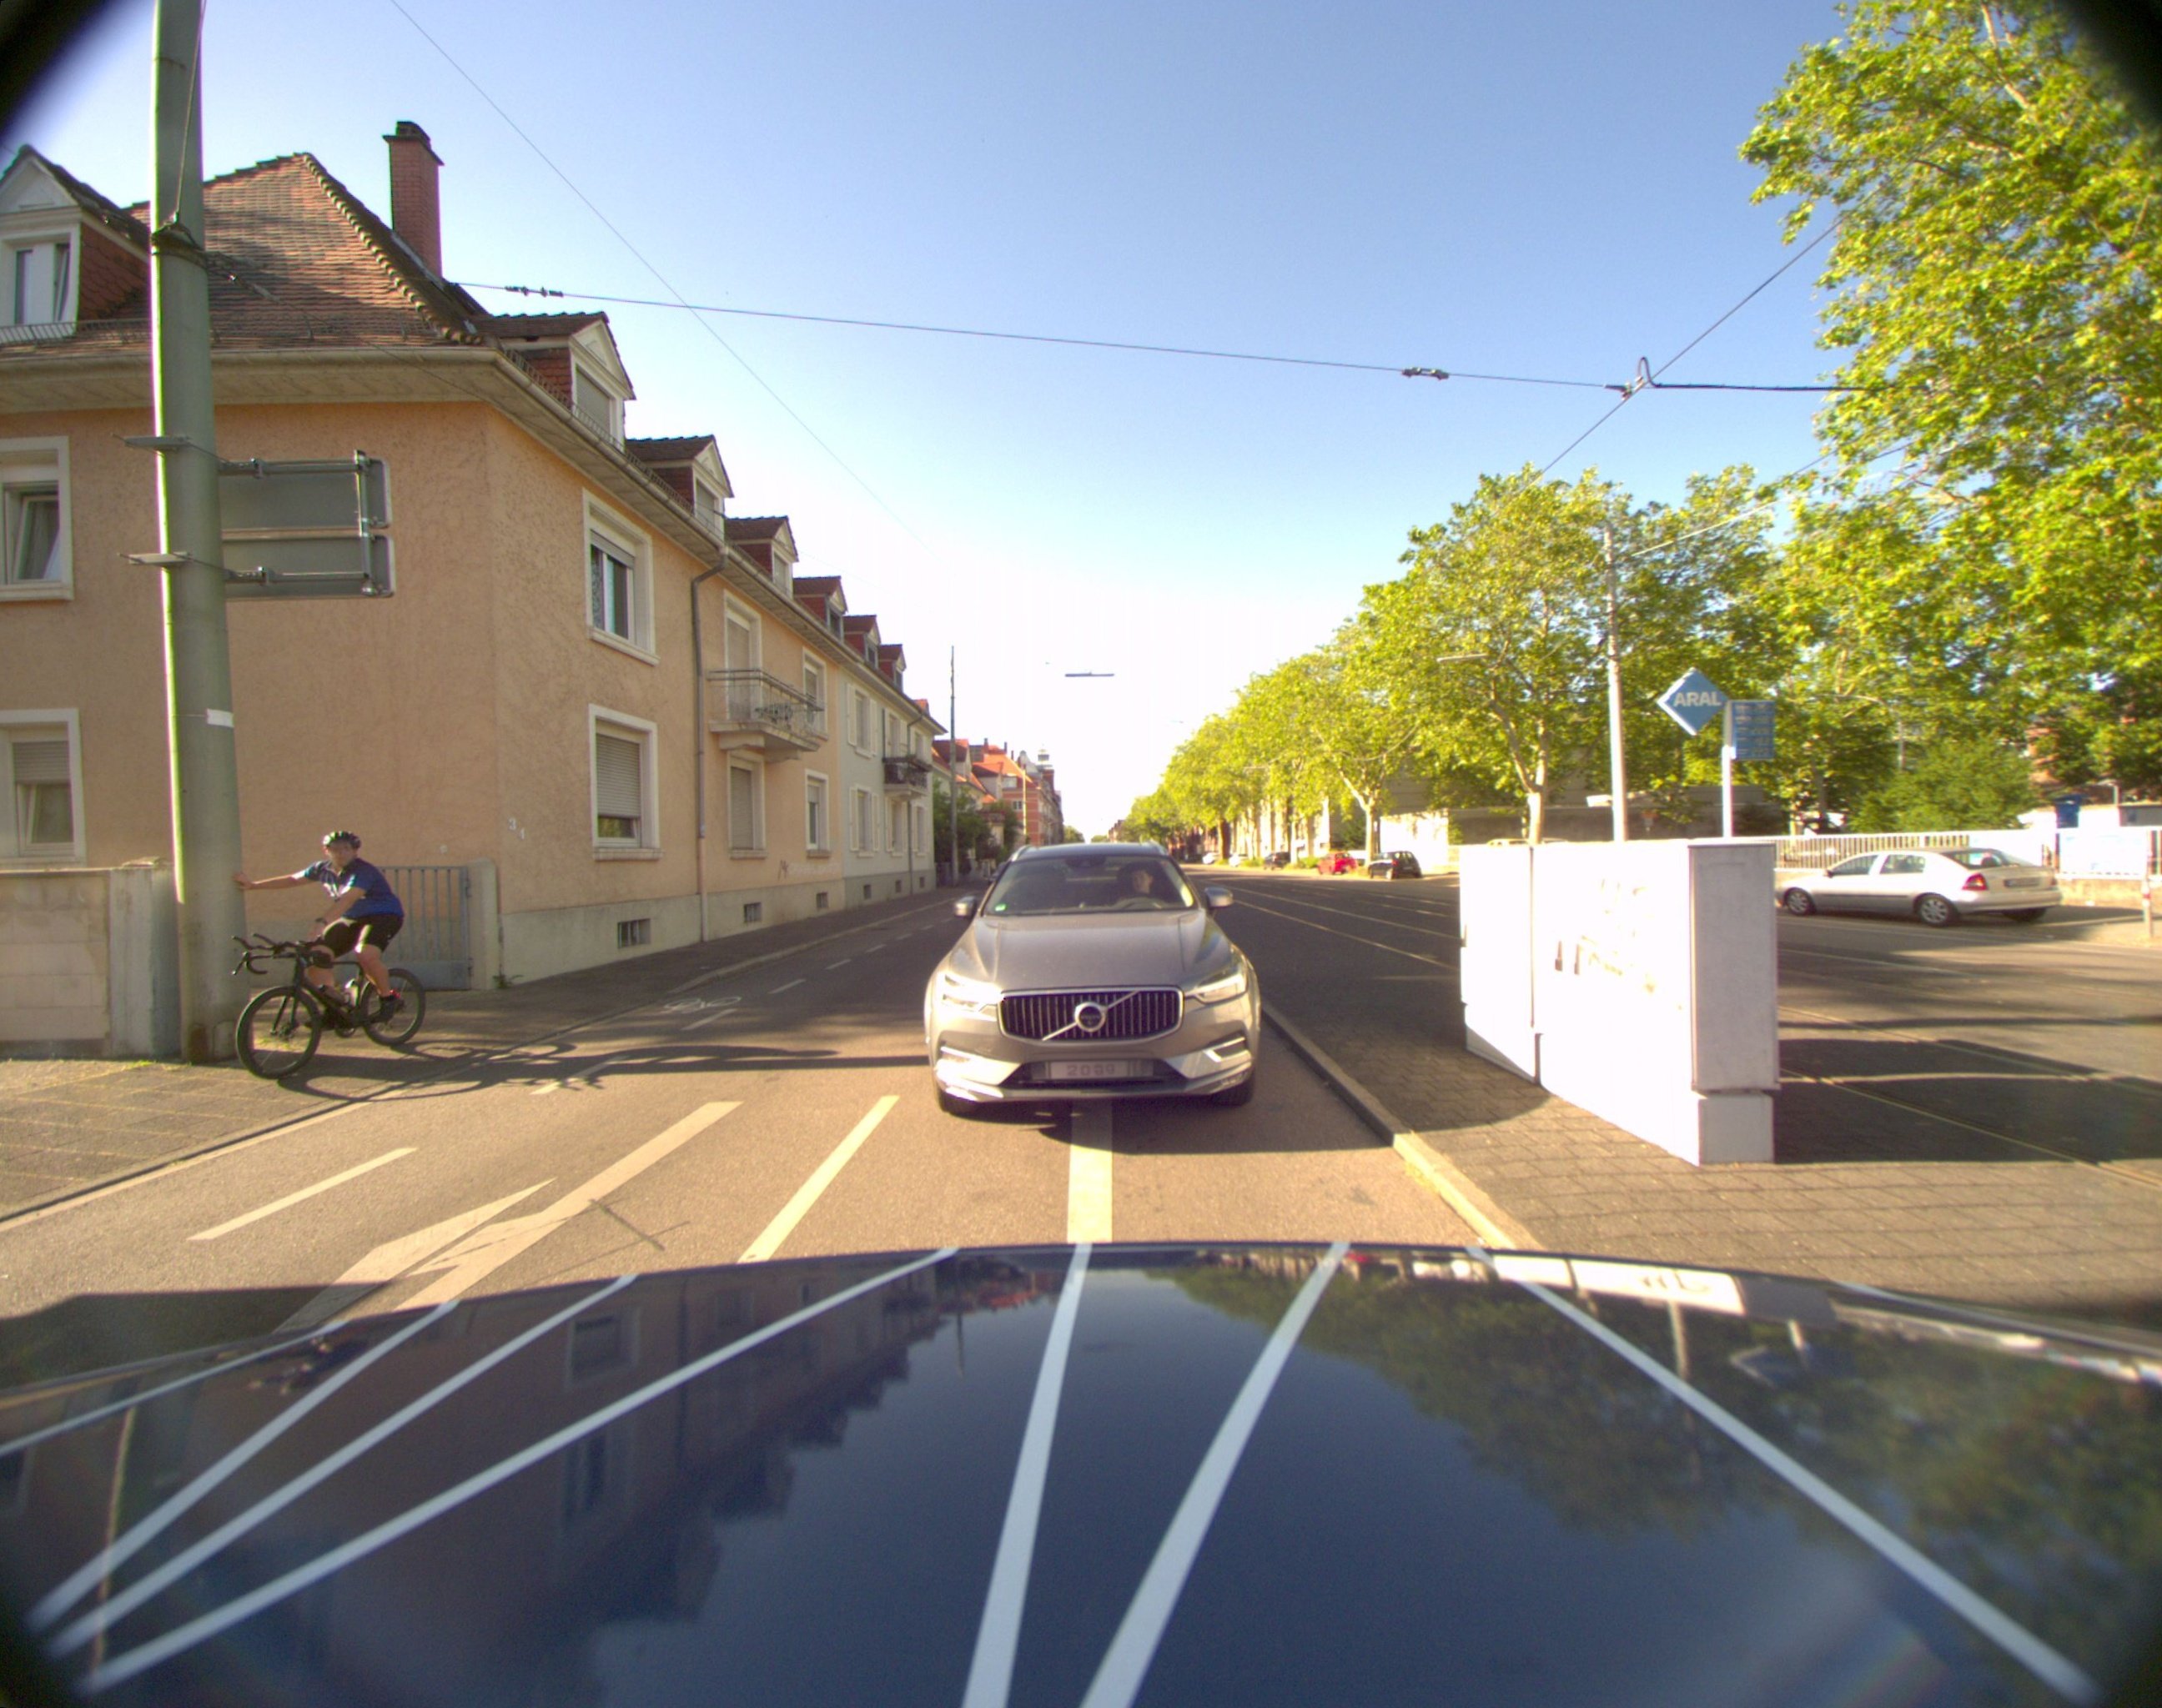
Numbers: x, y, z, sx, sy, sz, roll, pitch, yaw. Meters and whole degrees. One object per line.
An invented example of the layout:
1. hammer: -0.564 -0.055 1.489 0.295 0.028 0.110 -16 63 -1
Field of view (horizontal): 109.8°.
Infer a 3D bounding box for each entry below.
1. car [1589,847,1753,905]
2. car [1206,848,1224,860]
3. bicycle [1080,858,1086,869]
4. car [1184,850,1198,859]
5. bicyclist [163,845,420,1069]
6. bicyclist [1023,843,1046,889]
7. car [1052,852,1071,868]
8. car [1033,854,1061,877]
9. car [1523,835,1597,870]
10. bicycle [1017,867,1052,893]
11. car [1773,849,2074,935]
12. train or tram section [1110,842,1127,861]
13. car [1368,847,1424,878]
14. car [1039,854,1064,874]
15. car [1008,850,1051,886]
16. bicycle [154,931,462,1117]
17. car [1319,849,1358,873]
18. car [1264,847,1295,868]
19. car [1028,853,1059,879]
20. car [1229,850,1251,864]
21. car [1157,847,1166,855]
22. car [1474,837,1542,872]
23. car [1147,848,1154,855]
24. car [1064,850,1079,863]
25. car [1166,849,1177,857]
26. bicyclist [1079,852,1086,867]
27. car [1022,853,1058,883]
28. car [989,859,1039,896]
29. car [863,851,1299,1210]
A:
1. car: 16.413 0.563 21.412 1.695 1.395 3.749 -3 0 1
2. car: 17.799 0.028 100.710 1.695 1.440 3.749 -3 0 1
3. bicycle: 0.214 1.012 82.805 0.685 1.098 1.806 -2 1 1
4. car: 18.206 0.073 125.519 1.695 1.440 3.749 -3 0 1
5. bicyclist: -6.236 0.767 6.070 1.051 1.599 0.885 4 0 1
6. bicyclist: -2.001 0.527 32.764 0.518 1.922 0.948 -2 -2 33
7. car: -2.146 0.636 85.366 1.793 1.673 3.814 -3 0 2
8. car: -2.716 0.887 61.027 1.793 1.673 3.814 -3 0 2
9. car: 23.882 -0.079 38.021 1.599 1.583 3.304 -2 0 1
10. bicycle: -1.982 1.125 32.743 0.518 1.084 1.799 -2 -2 33
11. car: 16.227 0.643 14.978 1.695 1.395 3.813 -3 0 1
12. train or tram section: 7.467 -0.581 152.848 2.717 3.643 12.653 -1 0 0
13. car: 16.888 0.429 40.892 1.599 1.498 3.304 -3 0 1
14. car: -2.547 0.861 67.072 1.793 1.673 3.814 -3 0 2
15. car: -2.821 0.743 42.817 1.793 1.828 5.149 -3 0 2
16. bicycle: -6.036 1.260 6.107 0.592 1.062 1.775 4 0 1
17. car: 16.881 0.437 49.863 1.599 1.498 2.622 -3 0 1
18. car: 17.142 0.276 65.885 1.695 1.648 3.749 -3 0 1
19. car: -2.628 0.837 54.002 1.793 1.673 3.814 -3 0 2
20. car: 17.468 0.294 83.539 1.695 1.440 3.749 -3 0 1
21. car: 20.251 -0.727 191.410 1.695 1.775 3.749 -3 0 1
22. car: 21.549 0.017 38.469 1.599 1.606 3.304 -2 0 1
23. car: 19.668 -0.622 214.804 1.695 1.775 3.749 -3 0 1
24. car: -1.287 0.366 107.099 1.793 1.673 3.814 -3 0 2
25. car: 19.278 -0.193 161.873 1.695 1.440 3.749 -3 0 1
26. bicyclist: 0.198 0.633 82.808 0.685 1.611 0.855 -2 1 1
27. car: -2.582 0.856 48.482 1.793 1.673 3.814 -3 0 2
28. car: -3.220 1.086 37.044 1.695 1.571 3.815 -3 0 5
29. car: 0.031 0.829 5.750 1.998 1.628 4.306 -2 0 1
